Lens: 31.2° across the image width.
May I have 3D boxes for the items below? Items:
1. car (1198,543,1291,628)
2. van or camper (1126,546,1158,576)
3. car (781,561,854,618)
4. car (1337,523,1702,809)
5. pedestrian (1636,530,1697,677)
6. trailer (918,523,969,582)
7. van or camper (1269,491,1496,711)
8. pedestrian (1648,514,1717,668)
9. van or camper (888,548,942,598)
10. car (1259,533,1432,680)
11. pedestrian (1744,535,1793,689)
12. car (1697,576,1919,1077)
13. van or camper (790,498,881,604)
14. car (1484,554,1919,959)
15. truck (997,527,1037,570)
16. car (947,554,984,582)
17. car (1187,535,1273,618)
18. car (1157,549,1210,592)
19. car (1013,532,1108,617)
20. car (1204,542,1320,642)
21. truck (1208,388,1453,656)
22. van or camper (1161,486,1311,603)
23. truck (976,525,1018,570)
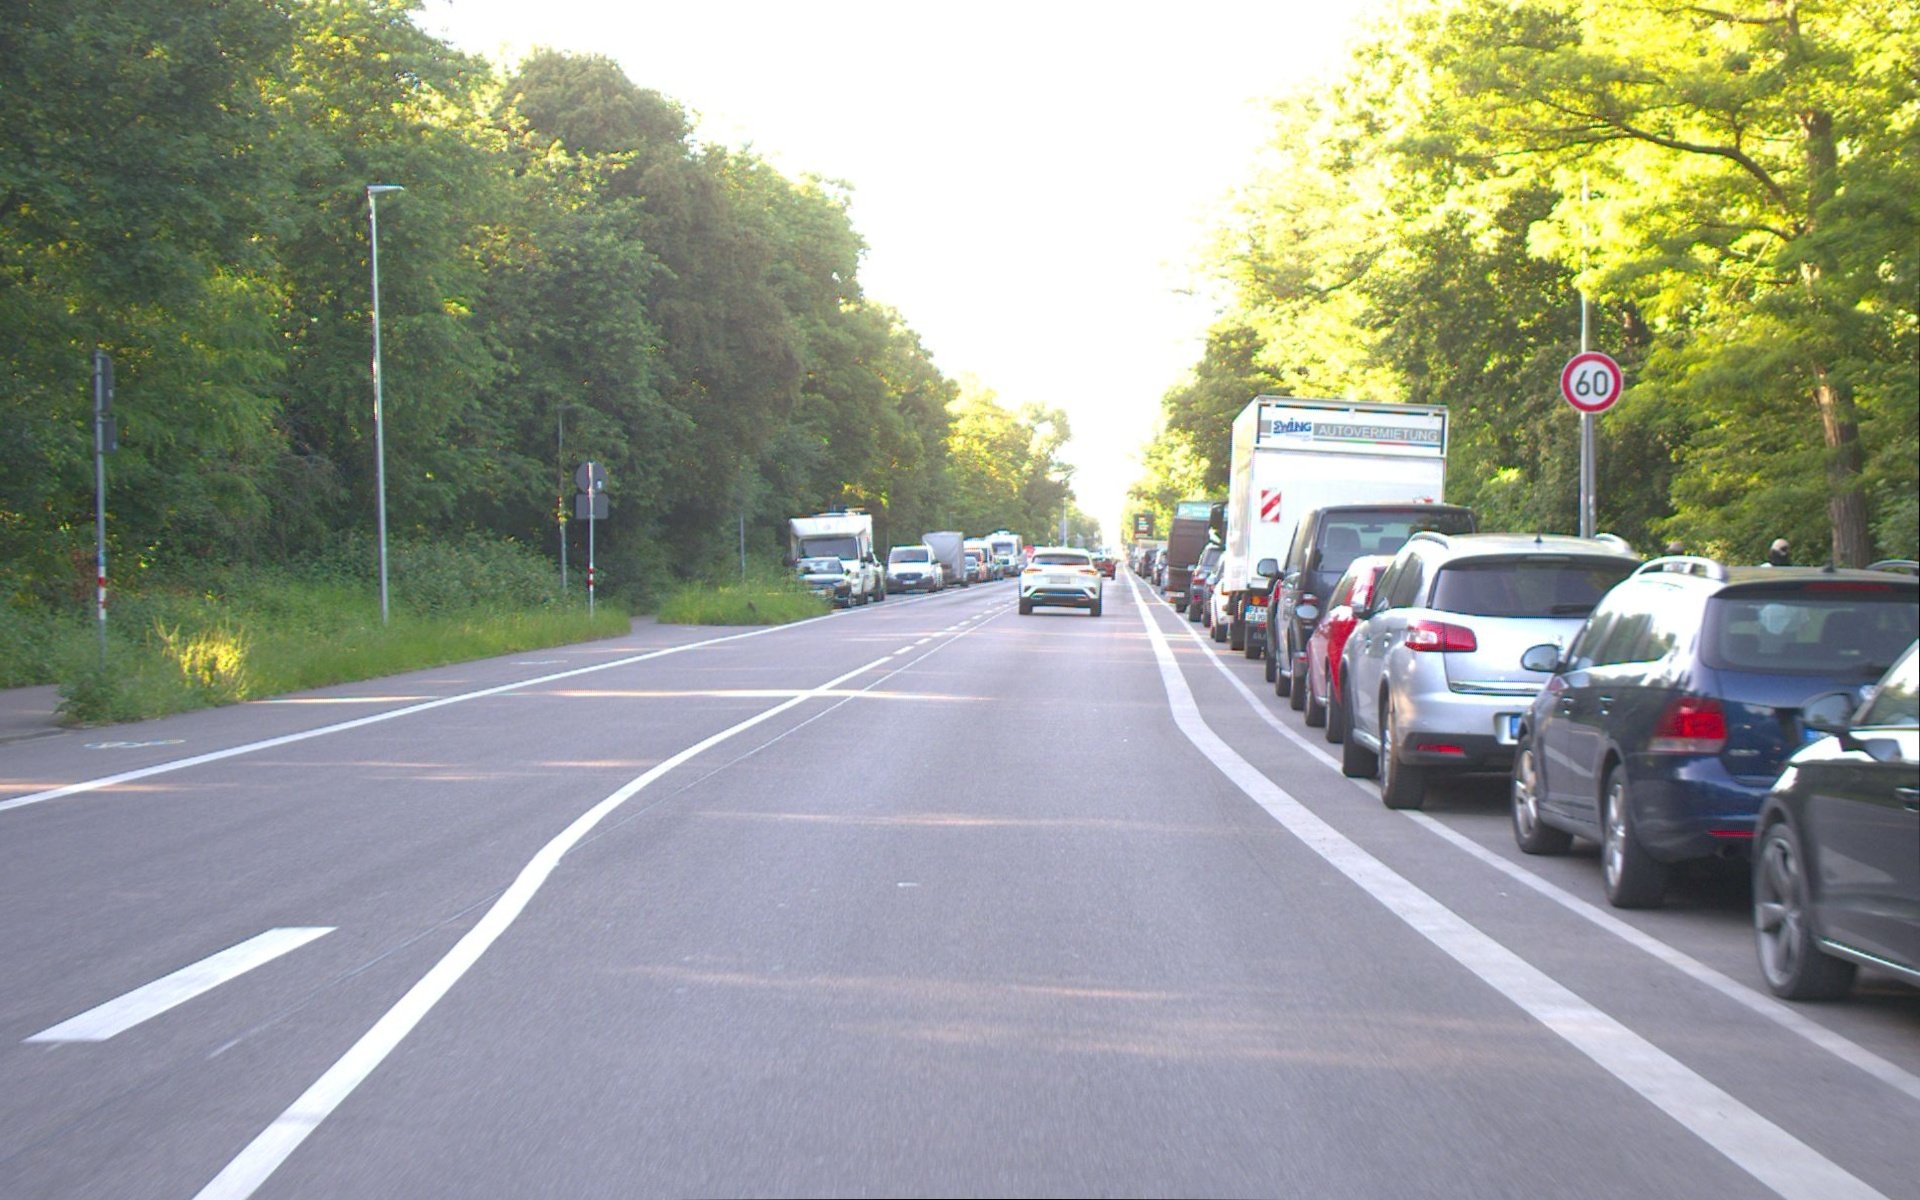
[{"bbox_3d":[5.599,-0.312,67.969,1.712,1.563,4.551,2,1,4],"label":"car"},{"bbox_3d":[11.765,-2.540,222.791,1.994,1.925,5.198,1,1,3],"label":"van or camper"},{"bbox_3d":[-3.928,-0.316,95.253,1.827,1.471,4.681,-1,1,0],"label":"car"},{"bbox_3d":[3.338,0.334,21.173,1.799,1.589,4.028,0,1,3],"label":"car"},{"bbox_3d":[7.665,0.034,37.307,0.563,1.582,0.482,-1,1,2],"label":"pedestrian"},{"bbox_3d":[-0.748,-2.209,159.483,1.994,2.589,4.415,-2,1,3],"label":"trailer"},{"bbox_3d":[4.070,-0.033,33.748,1.898,2.007,4.586,0,1,3],"label":"van or camper"},{"bbox_3d":[8.363,-0.108,39.812,0.618,1.758,0.906,-1,1,2],"label":"pedestrian"},{"bbox_3d":[-1.770,-1.073,136.481,1.835,1.905,4.856,-1,1,2],"label":"van or camper"},{"bbox_3d":[4.494,0.038,40.582,1.799,1.651,4.028,0,1,3],"label":"car"},{"bbox_3d":[8.384,0.119,35.640,0.394,1.582,0.482,-1,1,2],"label":"pedestrian"},{"bbox_3d":[3.513,0.660,10.470,1.594,1.396,3.799,1,1,-2],"label":"car"},{"bbox_3d":[-3.671,-1.457,102.599,2.314,2.960,7.111,-2,1,0],"label":"van or camper"},{"bbox_3d":[3.643,0.592,15.592,1.807,1.514,4.504,2,1,0],"label":"car"},{"bbox_3d":[4.207,-3.776,252.285,2.708,3.083,7.988,0,1,3],"label":"truck"},{"bbox_3d":[0.290,-1.735,185.582,1.732,1.473,4.324,-2,1,3],"label":"car"},{"bbox_3d":[5.743,-0.532,73.520,1.712,1.659,4.551,2,1,4],"label":"car"},{"bbox_3d":[8.408,-1.120,129.517,1.747,1.510,4.000,-2,1,1],"label":"car"},{"bbox_3d":[2.279,-0.585,76.882,2.029,1.834,4.028,0,1,3],"label":"car"},{"bbox_3d":[5.025,-0.166,57.608,1.712,1.563,4.000,2,1,3],"label":"car"},{"bbox_3d":[5.141,-1.090,49.133,2.832,3.485,8.578,0,1,2],"label":"truck"},{"bbox_3d":[6.977,-1.399,86.174,2.443,2.790,6.551,-1,1,16],"label":"van or camper"},{"bbox_3d":[2.870,-4.031,264.040,2.708,3.336,10.922,0,1,3],"label":"truck"}]
